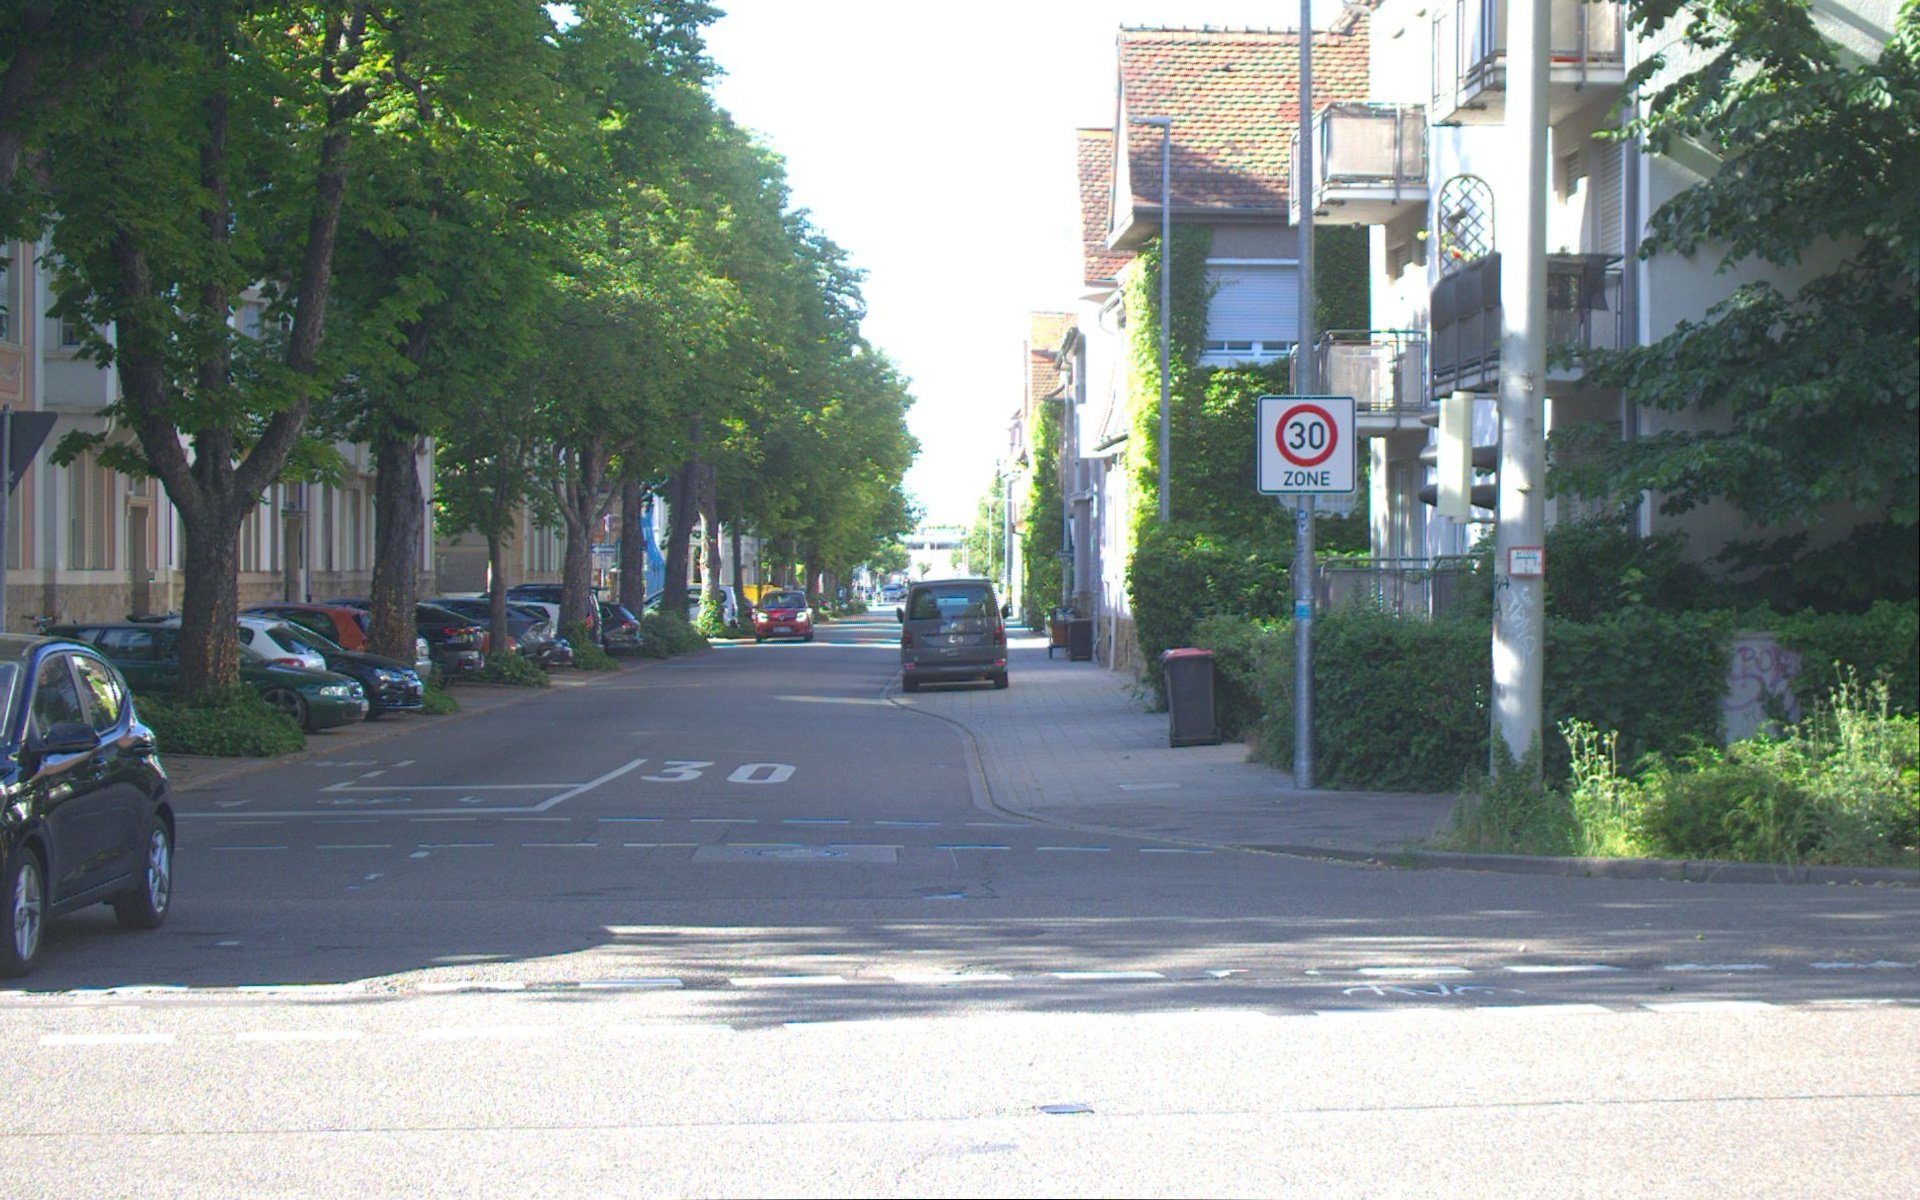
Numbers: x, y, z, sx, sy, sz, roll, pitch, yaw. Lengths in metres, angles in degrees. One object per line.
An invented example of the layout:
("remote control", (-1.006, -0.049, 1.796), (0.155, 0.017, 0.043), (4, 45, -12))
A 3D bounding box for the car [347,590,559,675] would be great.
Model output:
("car", (-10.209, 0.647, 69.401), (3.987, 1.587, 1.859), (1, 0, -1))

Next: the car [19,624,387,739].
("car", (-9.446, 1.007, 43.113), (4.212, 1.344, 1.703), (1, -1, 0))

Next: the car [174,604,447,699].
("car", (-10.408, 0.815, 55.291), (3.987, 1.398, 1.830), (1, 0, 1))

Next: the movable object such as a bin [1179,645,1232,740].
("movable object such as a bin", (2.812, 1.055, 39.437), (0.483, 1.041, 0.657), (-3, 0, -2))

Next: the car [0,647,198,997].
("car", (-4.807, 0.952, 15.923), (1.660, 1.459, 3.808), (0, -1, 1))

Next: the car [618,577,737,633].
("car", (-9.739, 0.166, 118.826), (3.986, 1.755, 1.798), (2, 0, -3))

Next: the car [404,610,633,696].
("car", (-8.137, 0.964, 63.629), (3.987, 1.509, 1.747), (1, 0, 0))

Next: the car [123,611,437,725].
("car", (-9.453, 0.930, 47.990), (3.987, 1.477, 1.785), (1, 0, 1))

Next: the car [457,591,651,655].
("car", (-9.877, 0.556, 83.892), (4.531, 1.498, 1.892), (1, 0, -1))

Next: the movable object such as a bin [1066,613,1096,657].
("movable object such as a bin", (2.920, 0.834, 82.944), (0.647, 1.036, 0.828), (-1, 0, -2))

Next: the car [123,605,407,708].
("car", (-10.654, 0.859, 52.869), (3.987, 1.503, 1.722), (-1, 0, 1))

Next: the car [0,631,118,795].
("car", (-10.006, 1.053, 32.084), (3.882, 1.471, 1.615), (-1, 0, 0))

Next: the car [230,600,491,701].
("car", (-10.015, 0.829, 57.612), (3.987, 1.561, 1.863), (1, 0, 1))

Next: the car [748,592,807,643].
("car", (-5.602, 0.534, 105.818), (1.641, 1.503, 3.702), (-1, 0, -1))

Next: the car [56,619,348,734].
("car", (-10.002, 0.997, 45.493), (3.434, 1.447, 1.703), (1, -1, 2))

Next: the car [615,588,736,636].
("car", (-9.634, 0.396, 116.497), (3.986, 1.459, 1.798), (2, -1, -3))

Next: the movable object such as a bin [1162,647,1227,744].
("movable object such as a bin", (2.631, 1.066, 38.580), (0.597, 1.041, 0.707), (-3, 0, -2))

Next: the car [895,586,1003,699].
("car", (-0.182, 0.727, 62.144), (1.865, 1.909, 4.782), (1, 0, 0))

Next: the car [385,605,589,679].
("car", (-9.899, 0.866, 72.113), (3.903, 1.441, 1.859), (1, 0, 5))
